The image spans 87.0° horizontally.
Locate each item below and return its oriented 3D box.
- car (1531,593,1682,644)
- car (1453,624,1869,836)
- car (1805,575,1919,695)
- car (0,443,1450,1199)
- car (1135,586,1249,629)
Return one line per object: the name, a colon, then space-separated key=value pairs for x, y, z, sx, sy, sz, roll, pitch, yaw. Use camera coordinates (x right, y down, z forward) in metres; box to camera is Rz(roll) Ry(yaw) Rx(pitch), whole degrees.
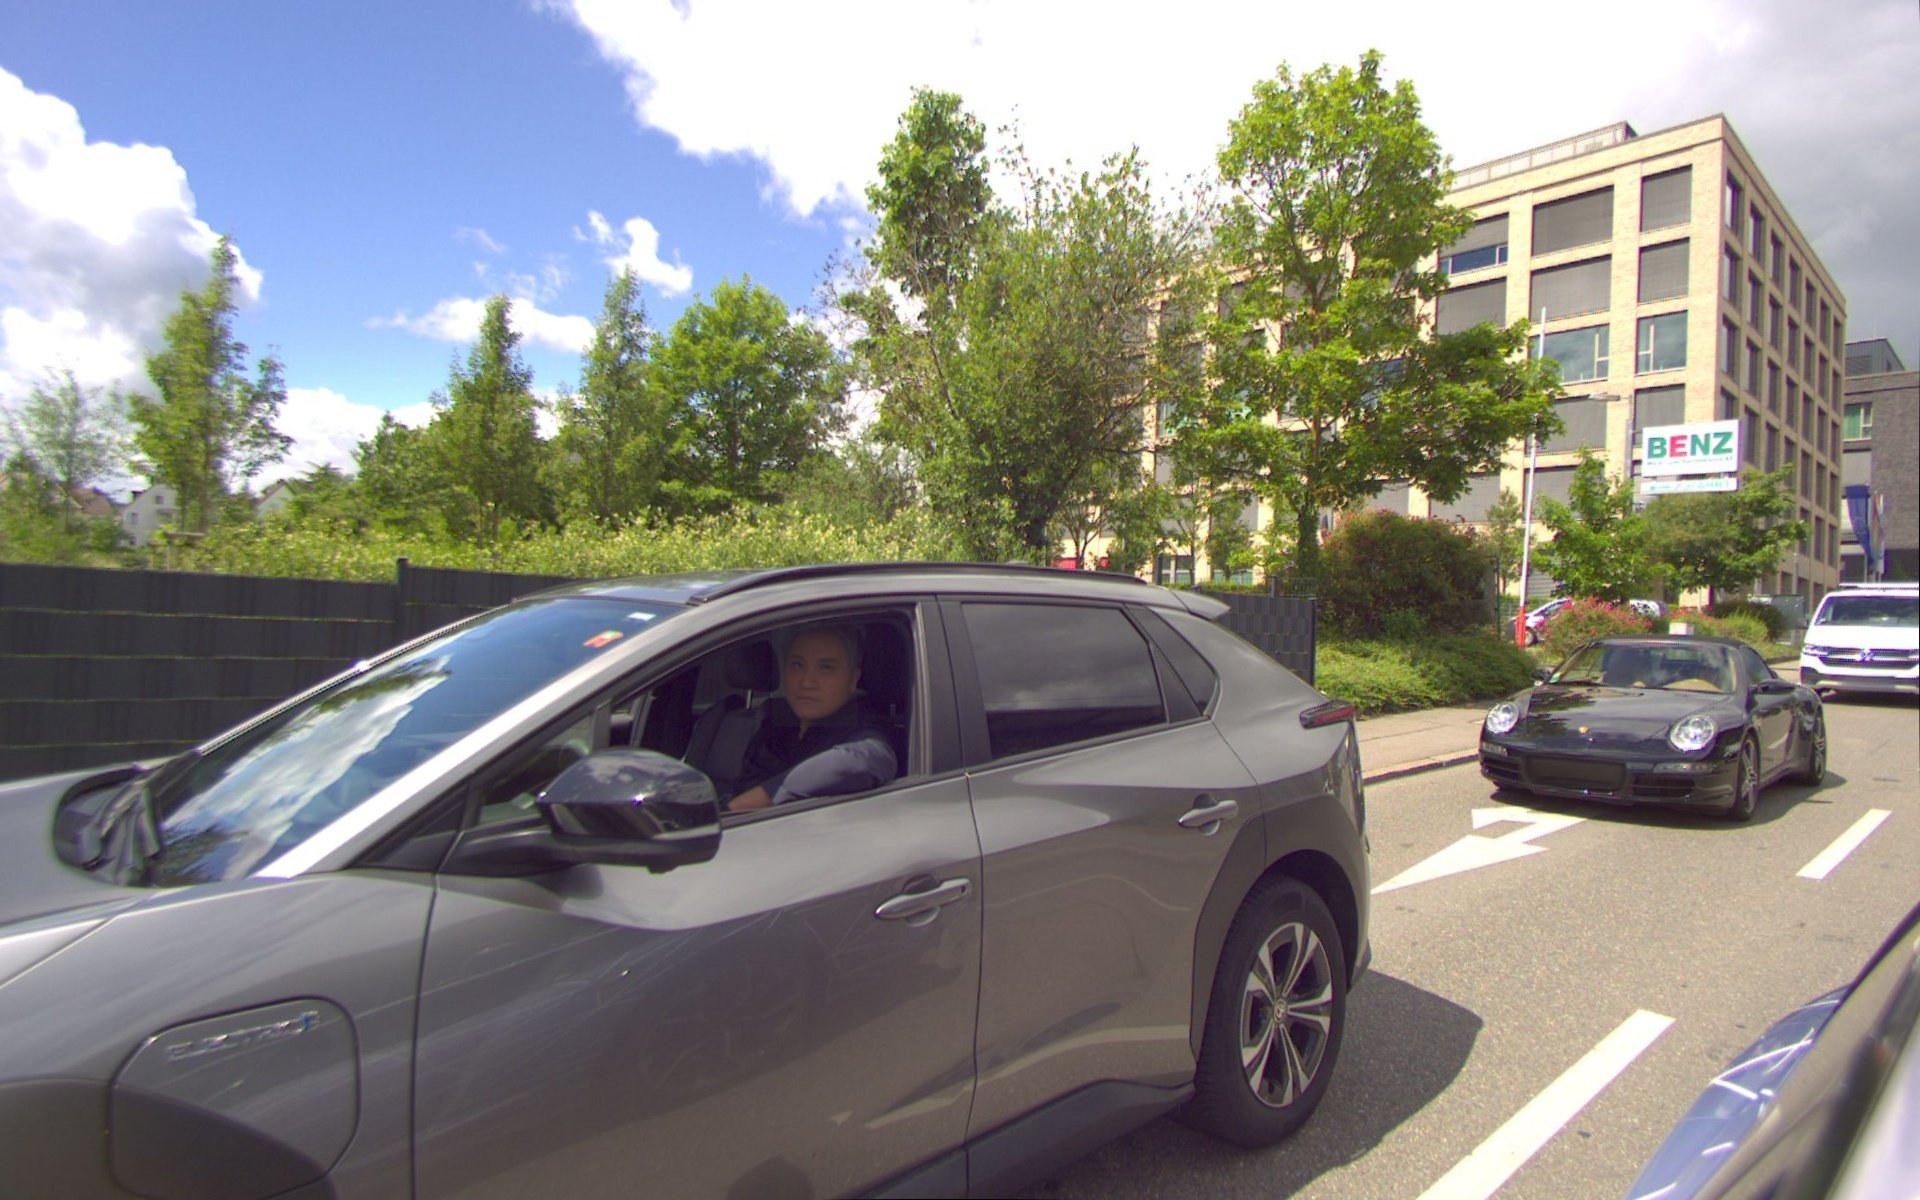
car: x=22.786 y=0.606 z=35.783 sx=1.707 sy=1.596 sz=4.211 roll=1 pitch=1 yaw=-44
car: x=6.083 y=0.873 z=8.558 sx=4.487 sy=1.290 sz=1.776 roll=1 pitch=-1 yaw=-40
car: x=16.420 y=0.565 z=17.584 sx=4.563 sy=1.874 sz=1.962 roll=1 pitch=-1 yaw=-41
car: x=-0.753 y=0.670 z=2.532 sx=4.601 sy=1.634 sz=1.922 roll=1 pitch=-1 yaw=-41
car: x=8.674 y=0.265 z=38.033 sx=1.572 sy=1.427 sz=3.994 roll=1 pitch=2 yaw=-41
